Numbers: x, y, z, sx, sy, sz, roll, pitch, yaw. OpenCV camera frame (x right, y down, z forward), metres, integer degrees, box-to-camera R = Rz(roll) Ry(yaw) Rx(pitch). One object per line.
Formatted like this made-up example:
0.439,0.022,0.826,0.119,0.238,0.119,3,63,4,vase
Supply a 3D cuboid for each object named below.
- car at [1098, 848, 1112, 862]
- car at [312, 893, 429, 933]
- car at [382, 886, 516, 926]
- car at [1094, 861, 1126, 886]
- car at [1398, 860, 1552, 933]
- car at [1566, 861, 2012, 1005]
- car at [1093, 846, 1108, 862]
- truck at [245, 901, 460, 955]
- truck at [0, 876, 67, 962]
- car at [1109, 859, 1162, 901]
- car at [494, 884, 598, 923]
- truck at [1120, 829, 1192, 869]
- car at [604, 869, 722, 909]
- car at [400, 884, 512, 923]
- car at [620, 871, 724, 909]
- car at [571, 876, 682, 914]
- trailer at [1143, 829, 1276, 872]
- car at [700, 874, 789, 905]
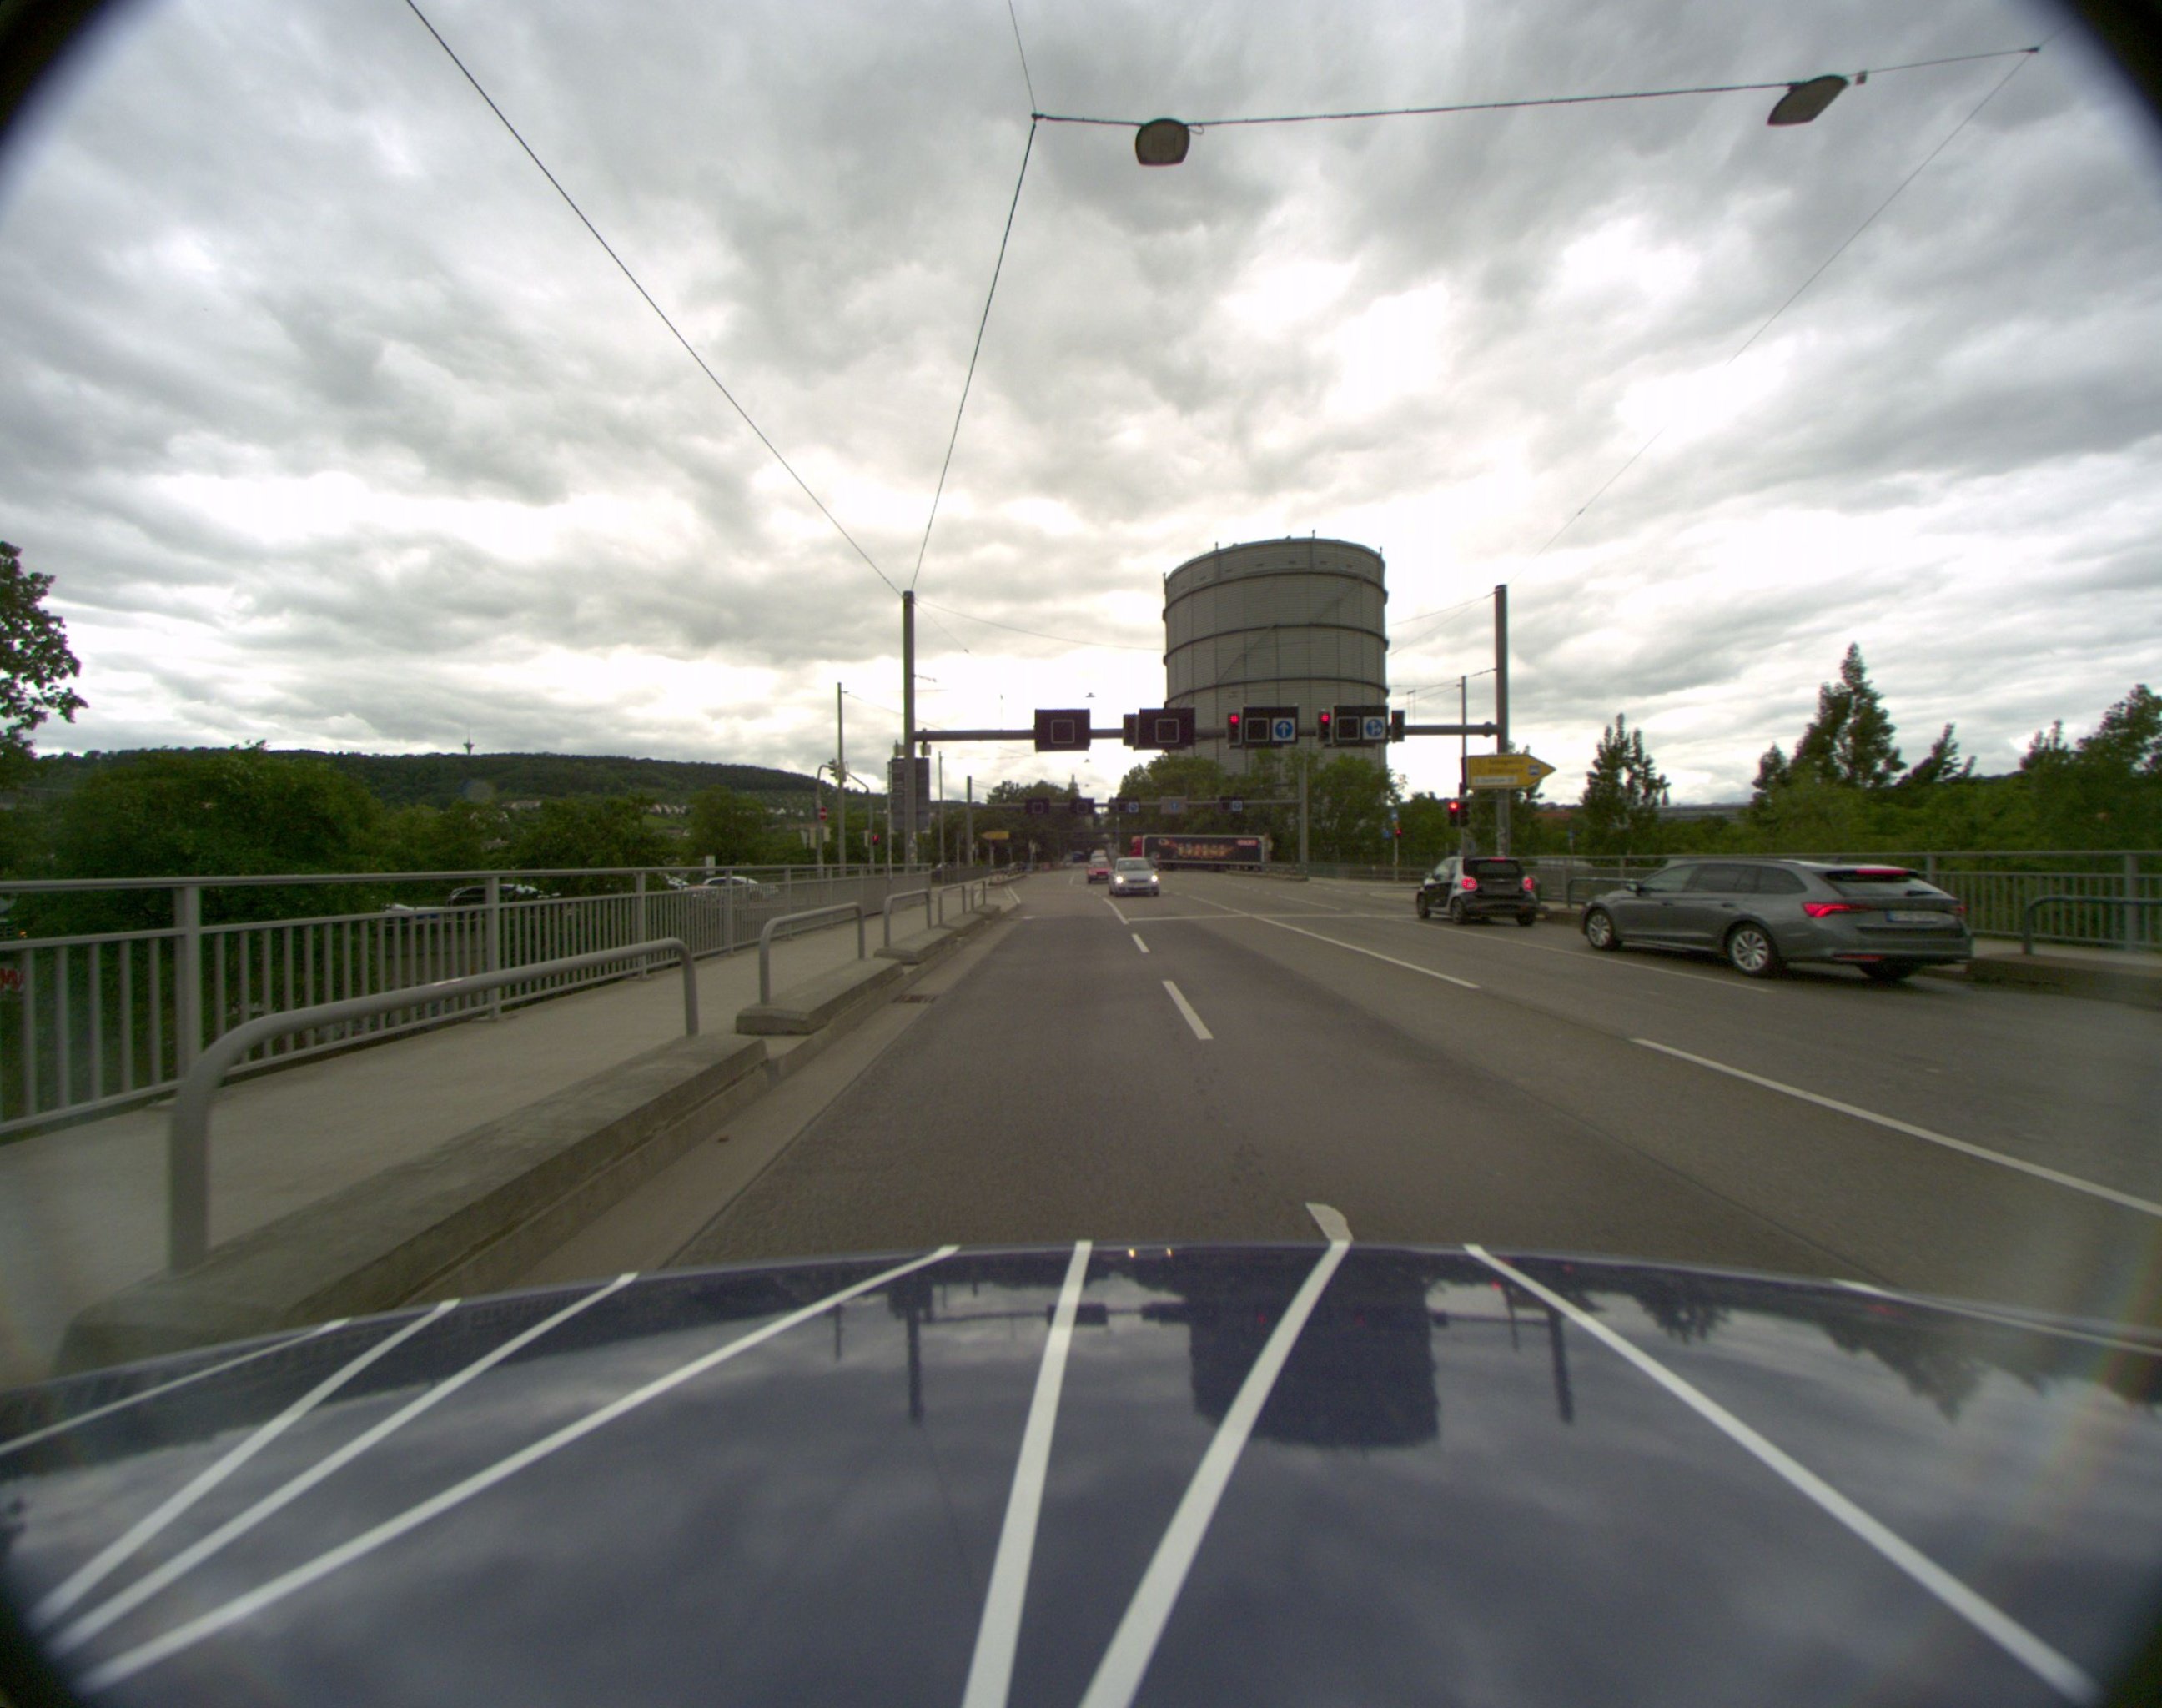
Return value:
3.386,0.121,109.537,1.933,1.987,4.453,0,-1,0,car
-33.503,2.746,35.901,3.757,1.531,1.695,-3,1,-2,car
-31.967,2.606,38.538,4.959,1.610,1.999,-3,2,-1,car
1.788,1.200,47.689,1.747,1.455,3.954,0,0,-1,car
9.170,0.914,18.076,1.839,1.495,3.872,0,0,3,car
8.954,0.859,10.320,1.840,1.495,4.516,0,0,0,car
3.085,-0.048,120.660,2.331,2.509,4.948,1,0,1,car
-60.402,6.076,63.225,14.418,3.893,3.381,1,0,-1,truck
-54.370,3.191,34.928,10.424,3.856,3.226,-2,0,-3,truck
2.171,1.013,31.268,1.747,1.594,3.681,0,0,-2,car
-25.390,2.348,36.147,3.621,1.531,1.695,-3,1,-2,car
8.433,-0.557,86.152,7.213,4.296,3.680,2,0,43,truck
-18.443,1.532,33.656,4.151,1.412,1.695,-3,2,-2,car
-29.508,2.324,35.935,3.757,1.531,1.695,-3,1,-2,car
-19.762,1.717,36.803,4.006,1.531,1.695,-3,2,-2,car
-23.287,2.079,39.056,4.339,1.610,1.999,-3,2,0,car
13.939,-0.423,83.075,13.744,4.296,3.679,2,0,27,trailer
-17.471,1.836,39.606,3.762,1.306,1.790,-3,2,-2,car
